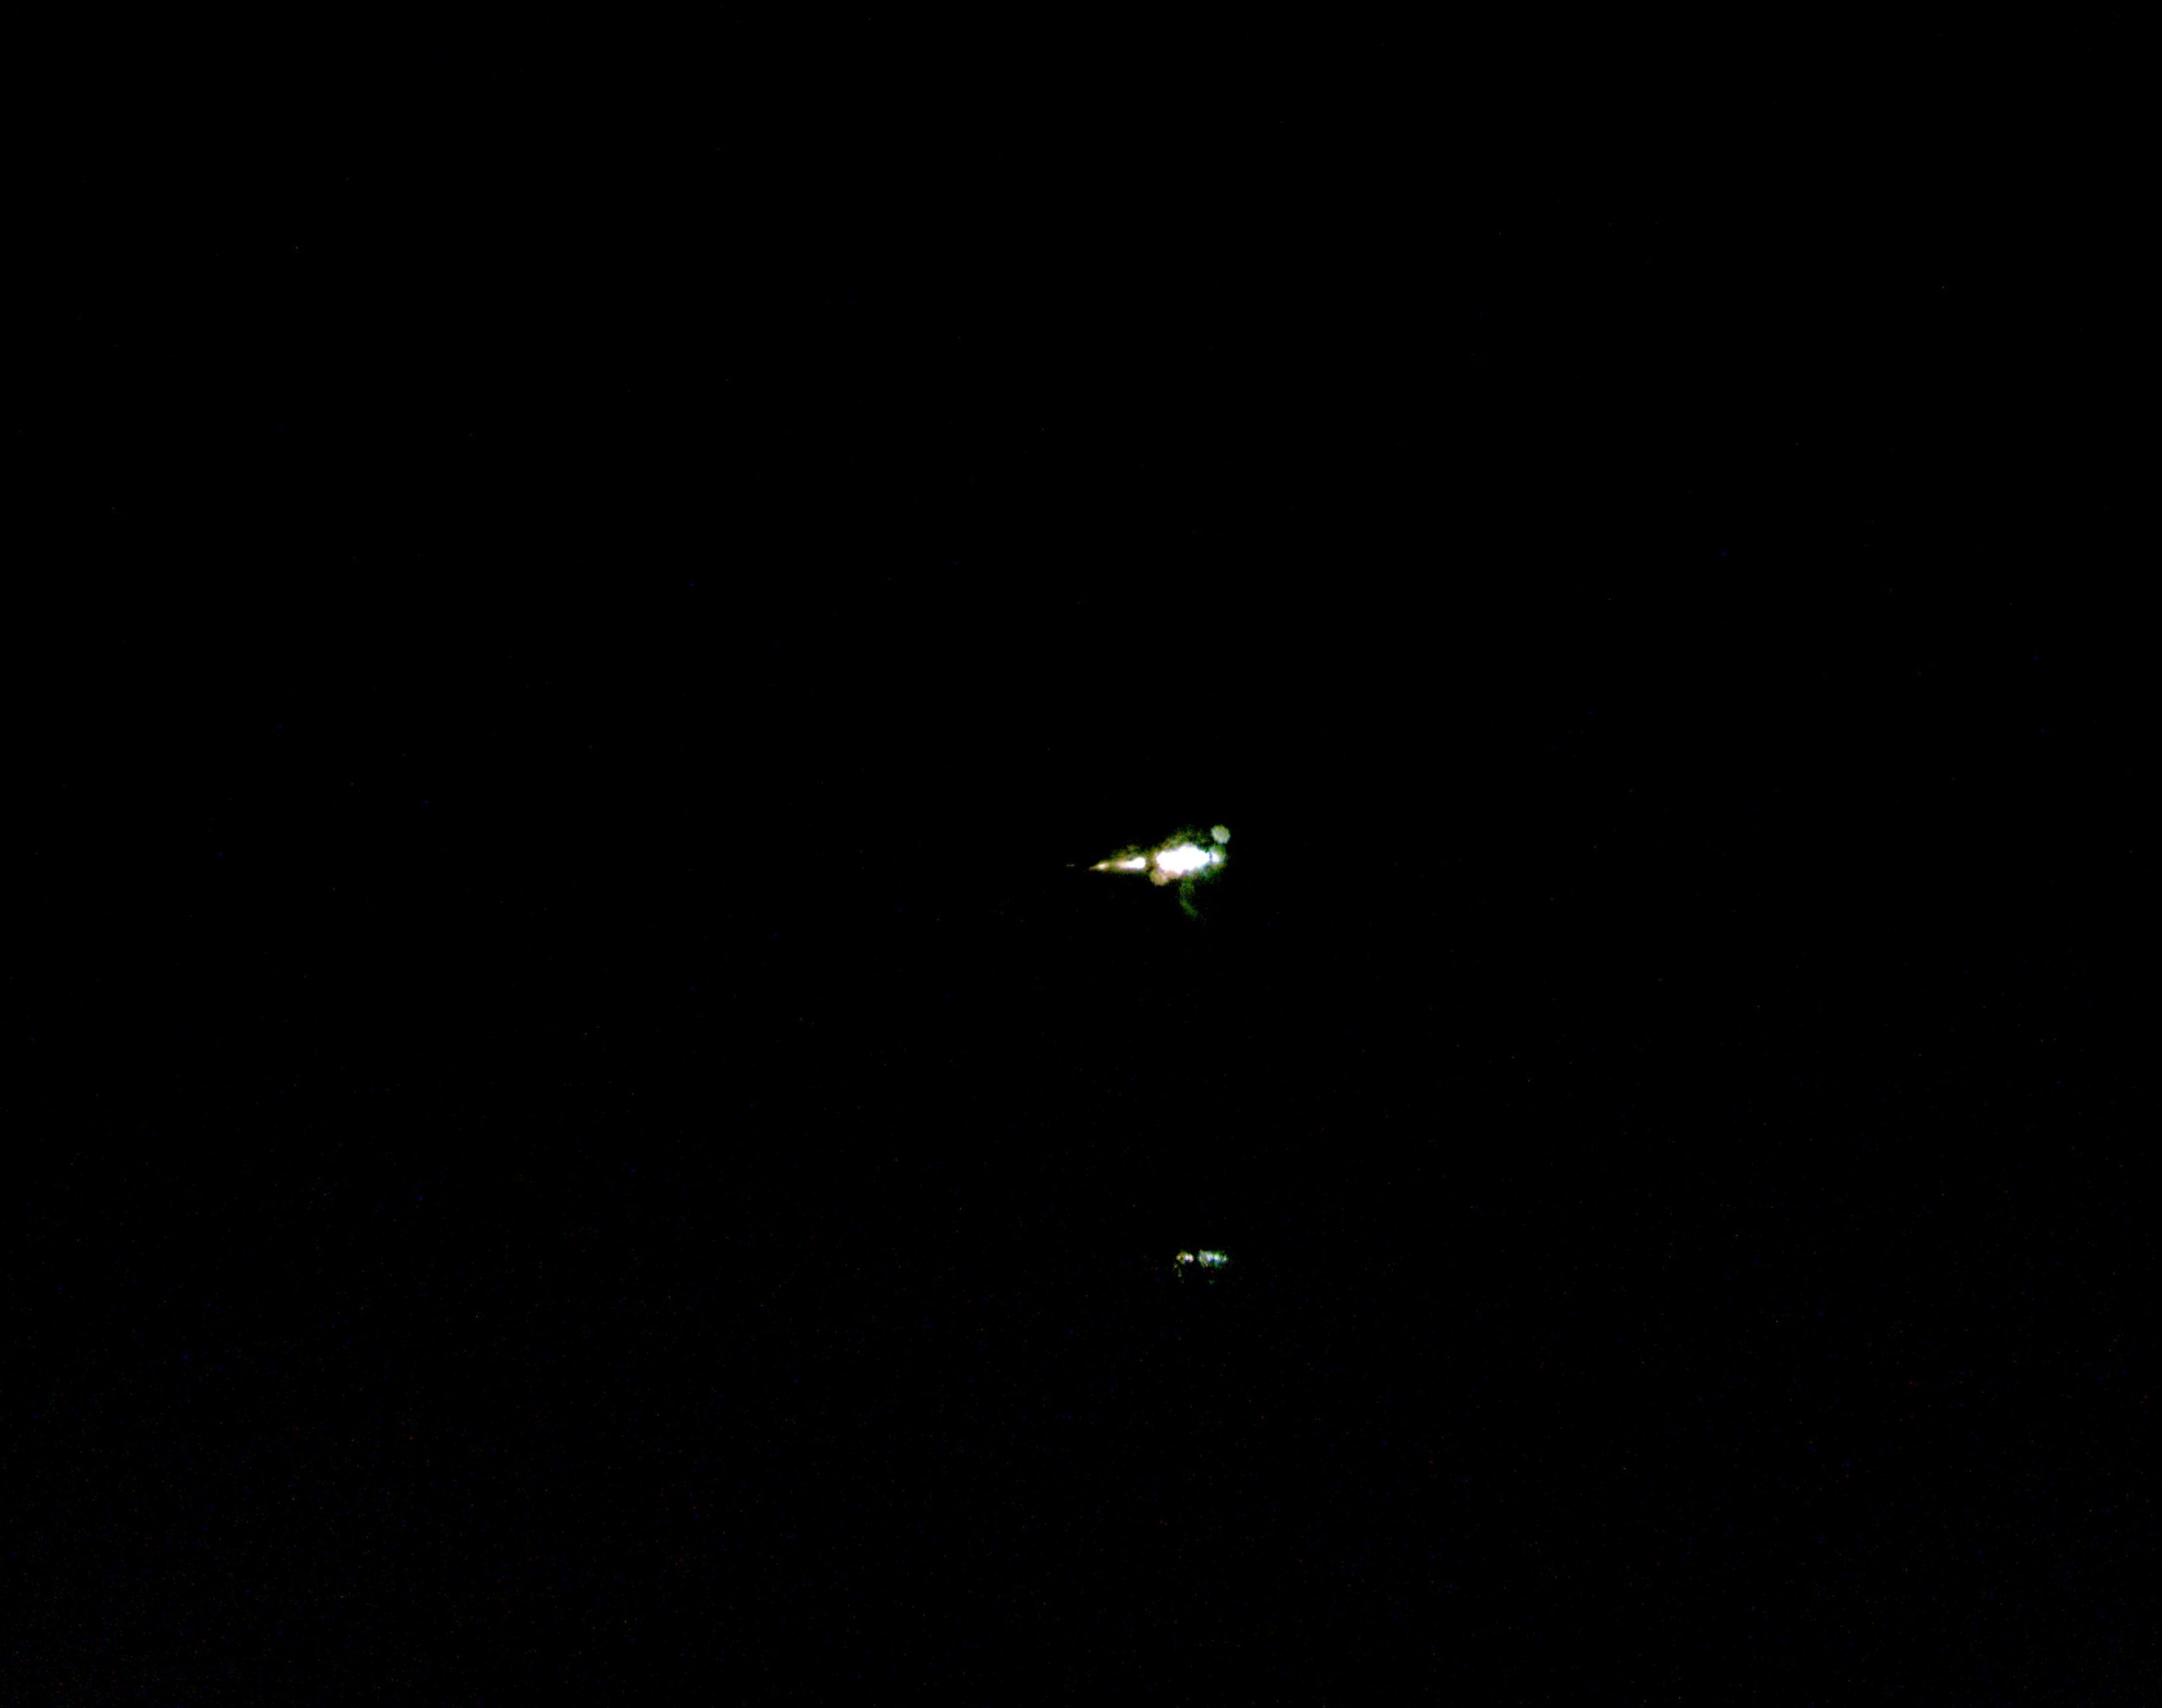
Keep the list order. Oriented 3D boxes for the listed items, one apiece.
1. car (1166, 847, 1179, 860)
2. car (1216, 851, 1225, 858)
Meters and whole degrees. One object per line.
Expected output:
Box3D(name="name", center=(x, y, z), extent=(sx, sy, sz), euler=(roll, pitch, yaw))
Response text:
Box3D(name="car", center=(12.427, -0.062, 102.981), extent=(1.746, 1.623, 3.738), euler=(-1, 0, 7))
Box3D(name="car", center=(32.803, 0.094, 178.753), extent=(1.924, 1.636, 4.029), euler=(-1, 0, 12))
